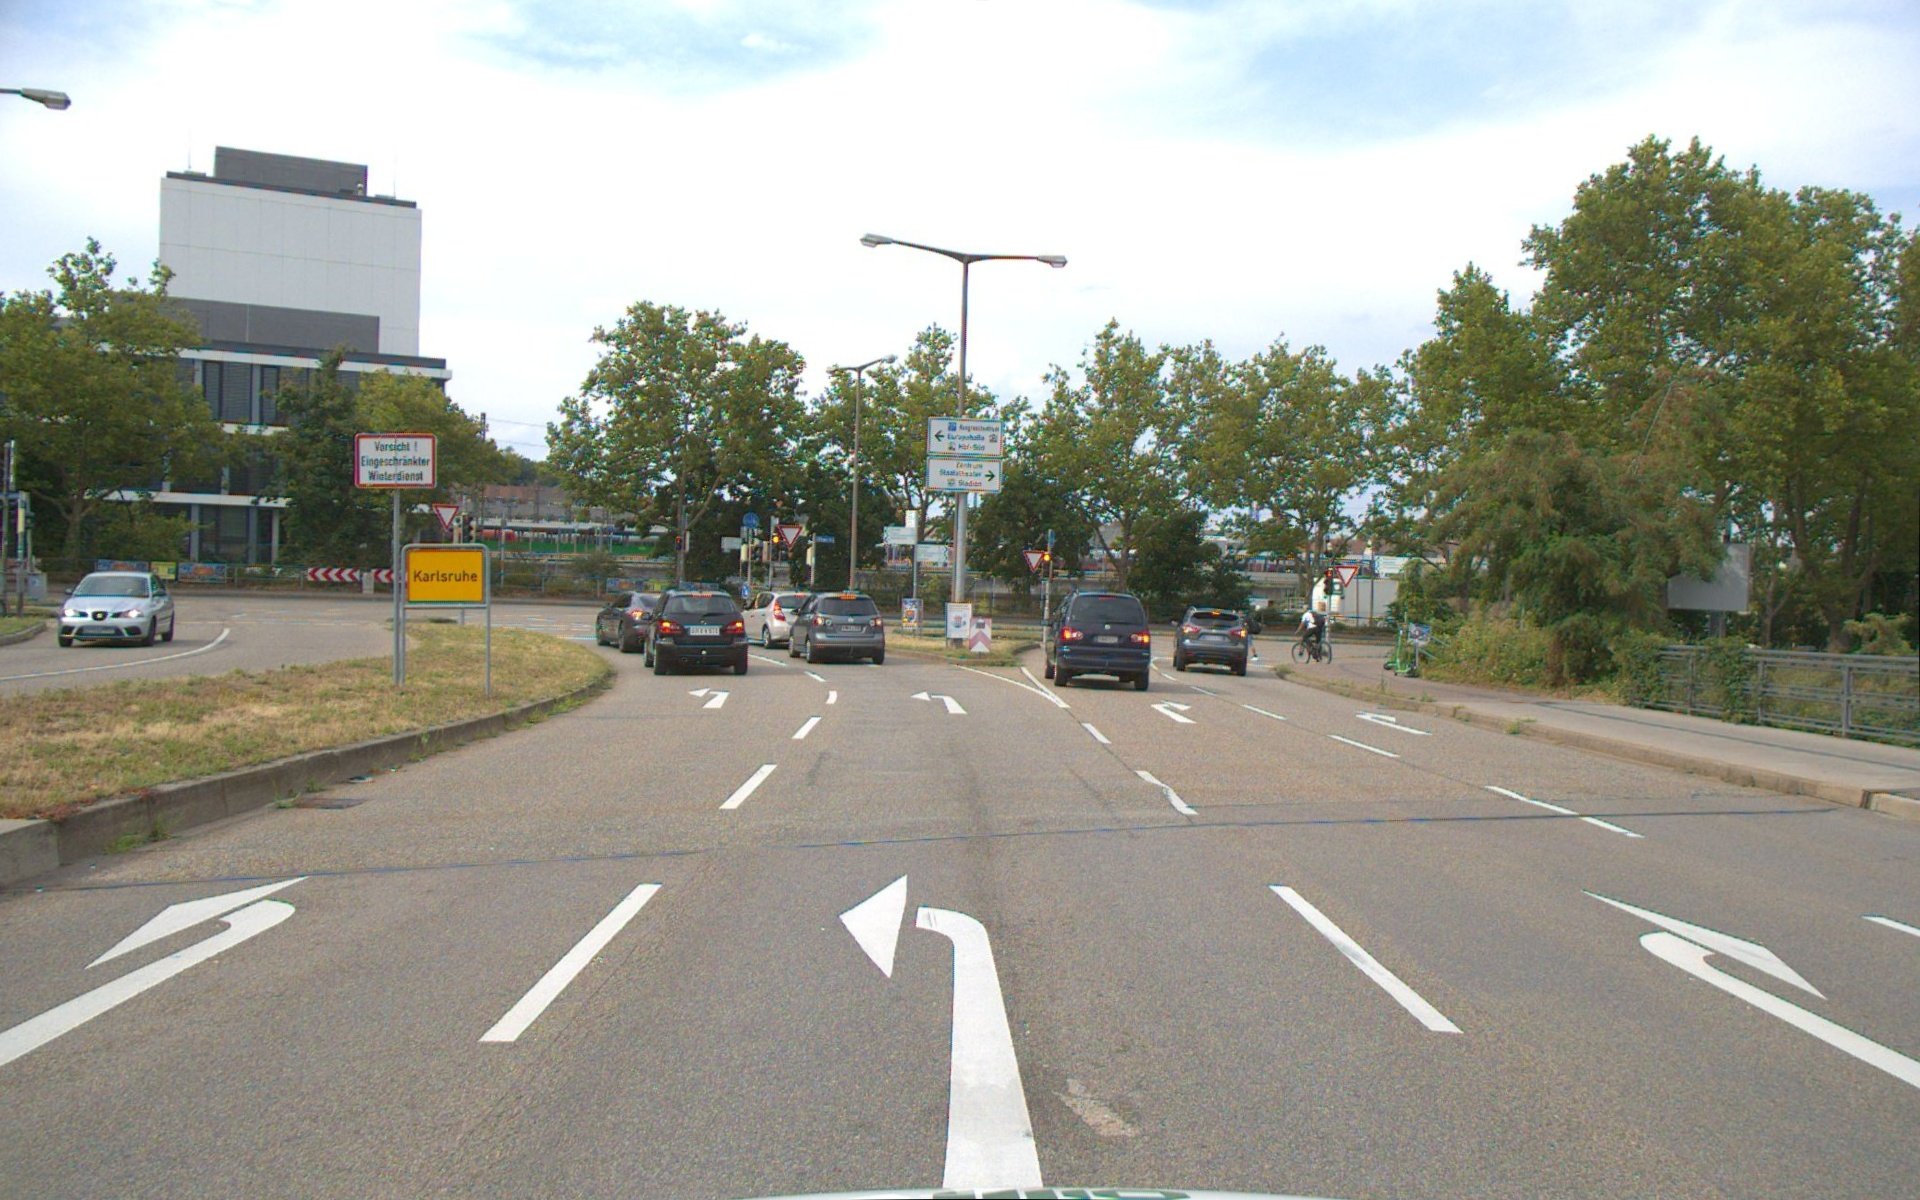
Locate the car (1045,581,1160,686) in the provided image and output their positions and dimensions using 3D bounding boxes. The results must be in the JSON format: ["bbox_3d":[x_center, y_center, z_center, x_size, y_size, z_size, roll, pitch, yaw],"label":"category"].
[{"bbox_3d":[2.627,0.606,31.353,1.715,1.755,4.137,3,0,0],"label":"car"}]

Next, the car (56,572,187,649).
[{"bbox_3d":[-16.556,0.205,32.821,1.590,1.435,3.843,0,0,-16],"label":"car"}]

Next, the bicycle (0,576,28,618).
[{"bbox_3d":[-23.206,-0.079,38.776,0.795,0.969,2.229,1,0,33],"label":"bicycle"}]

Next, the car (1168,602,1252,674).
[{"bbox_3d":[6.432,0.944,42.862,1.714,1.671,4.139,3,0,4],"label":"car"}]

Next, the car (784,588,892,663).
[{"bbox_3d":[-2.839,0.540,37.791,1.712,1.573,4.065,1,0,-15],"label":"car"}]

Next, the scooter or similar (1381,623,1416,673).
[{"bbox_3d":[10.959,1.200,41.361,0.389,1.204,1.278,1,0,-8],"label":"scooter or similar"}]

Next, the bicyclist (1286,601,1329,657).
[{"bbox_3d":[10.908,0.908,51.930,0.800,1.726,1.107,1,0,-26],"label":"bicyclist"}]

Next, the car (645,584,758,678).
[{"bbox_3d":[-5.104,0.558,32.279,1.728,1.602,4.021,2,1,-15],"label":"car"}]

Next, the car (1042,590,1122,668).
[{"bbox_3d":[2.821,0.656,38.264,1.655,1.613,4.158,3,0,4],"label":"car"}]

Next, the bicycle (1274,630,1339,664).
[{"bbox_3d":[10.877,1.477,51.965,0.799,0.969,2.217,1,1,-25],"label":"bicycle"}]

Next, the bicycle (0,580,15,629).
[{"bbox_3d":[-24.782,0.100,41.436,1.881,1.231,0.636,1,1,-31],"label":"bicycle"}]

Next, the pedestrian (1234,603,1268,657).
[{"bbox_3d":[9.698,1.002,55.145,1.025,1.740,0.854,2,0,10],"label":"pedestrian"}]

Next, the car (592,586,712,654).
[{"bbox_3d":[-7.524,0.451,40.101,1.795,1.439,4.741,2,1,-24],"label":"car"}]

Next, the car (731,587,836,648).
[{"bbox_3d":[-4.779,0.449,44.301,1.717,1.508,4.053,1,0,-23],"label":"car"}]
